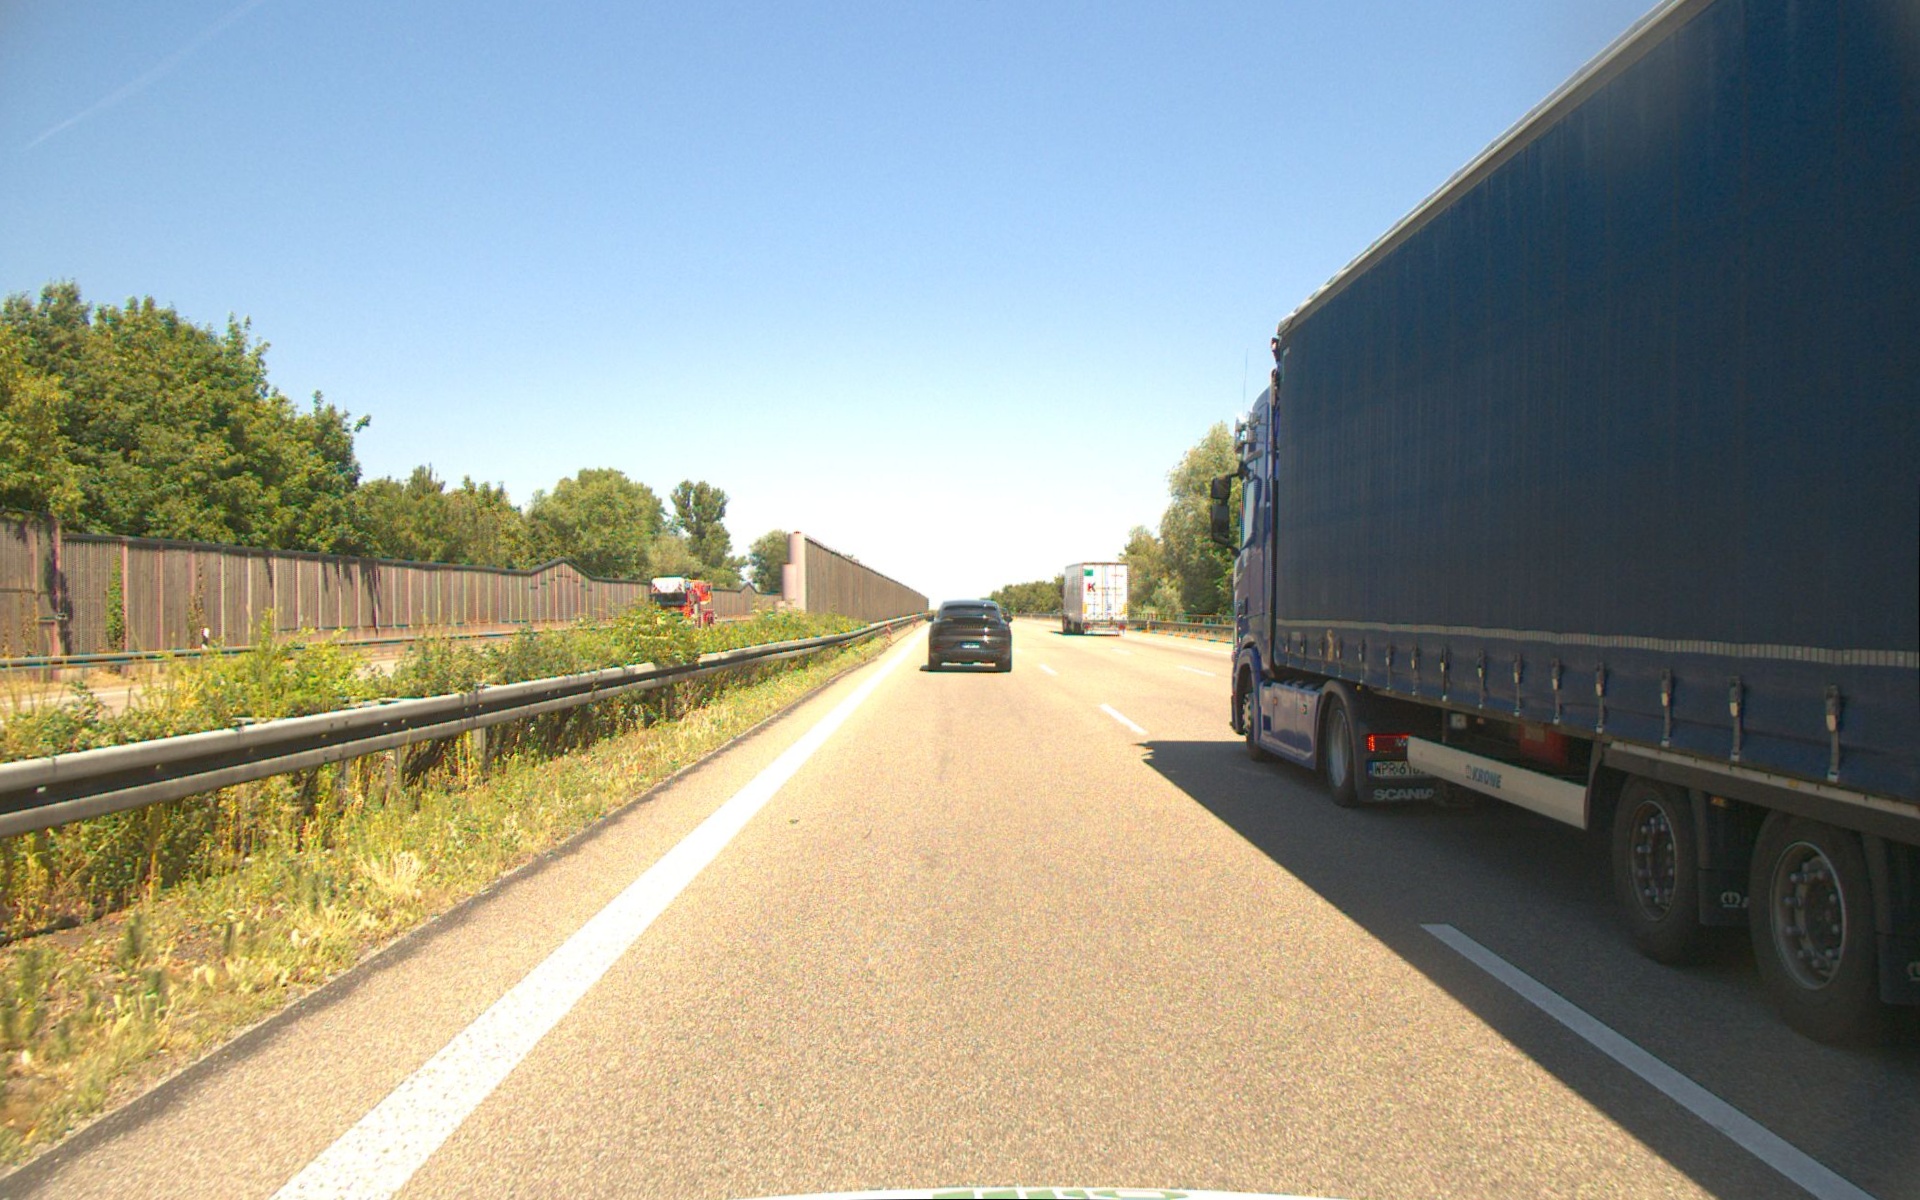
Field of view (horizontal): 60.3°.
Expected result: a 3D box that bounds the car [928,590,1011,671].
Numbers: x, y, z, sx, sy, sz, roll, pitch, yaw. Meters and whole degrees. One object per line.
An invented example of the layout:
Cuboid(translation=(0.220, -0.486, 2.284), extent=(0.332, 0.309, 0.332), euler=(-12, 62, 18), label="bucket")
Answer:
Cuboid(translation=(0.185, 0.697, 39.609), extent=(1.842, 1.823, 3.998), euler=(0, 0, -2), label="car")

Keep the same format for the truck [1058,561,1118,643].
Cuboid(translation=(8.038, 0.125, 104.576), extent=(3.168, 4.975, 6.971), euler=(1, 0, 0), label="truck")

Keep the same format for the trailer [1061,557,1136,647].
Cuboid(translation=(8.022, 0.153, 97.543), extent=(3.202, 4.922, 14.028), euler=(1, 0, 0), label="trailer")

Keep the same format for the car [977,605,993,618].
Cuboid(translation=(3.031, 1.412, 203.587), extent=(1.864, 1.612, 4.303), euler=(0, -1, 0), label="car")

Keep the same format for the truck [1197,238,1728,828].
Cuboid(translation=(4.111, -0.456, 15.340), extent=(2.645, 4.190, 6.988), euler=(1, 0, -1), label="truck")

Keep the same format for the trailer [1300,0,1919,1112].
Cuboid(translation=(4.262, -0.486, 7.668), extent=(2.645, 4.190, 12.128), euler=(1, 0, -1), label="trailer")

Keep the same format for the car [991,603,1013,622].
Cuboid(translation=(3.788, 1.125, 150.662), extent=(1.864, 1.612, 4.303), euler=(0, -1, 0), label="car")

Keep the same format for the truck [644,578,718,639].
Cuboid(translation=(-17.154, 0.514, 102.414), extent=(2.644, 3.553, 10.853), euler=(1, 0, 0), label="truck")
